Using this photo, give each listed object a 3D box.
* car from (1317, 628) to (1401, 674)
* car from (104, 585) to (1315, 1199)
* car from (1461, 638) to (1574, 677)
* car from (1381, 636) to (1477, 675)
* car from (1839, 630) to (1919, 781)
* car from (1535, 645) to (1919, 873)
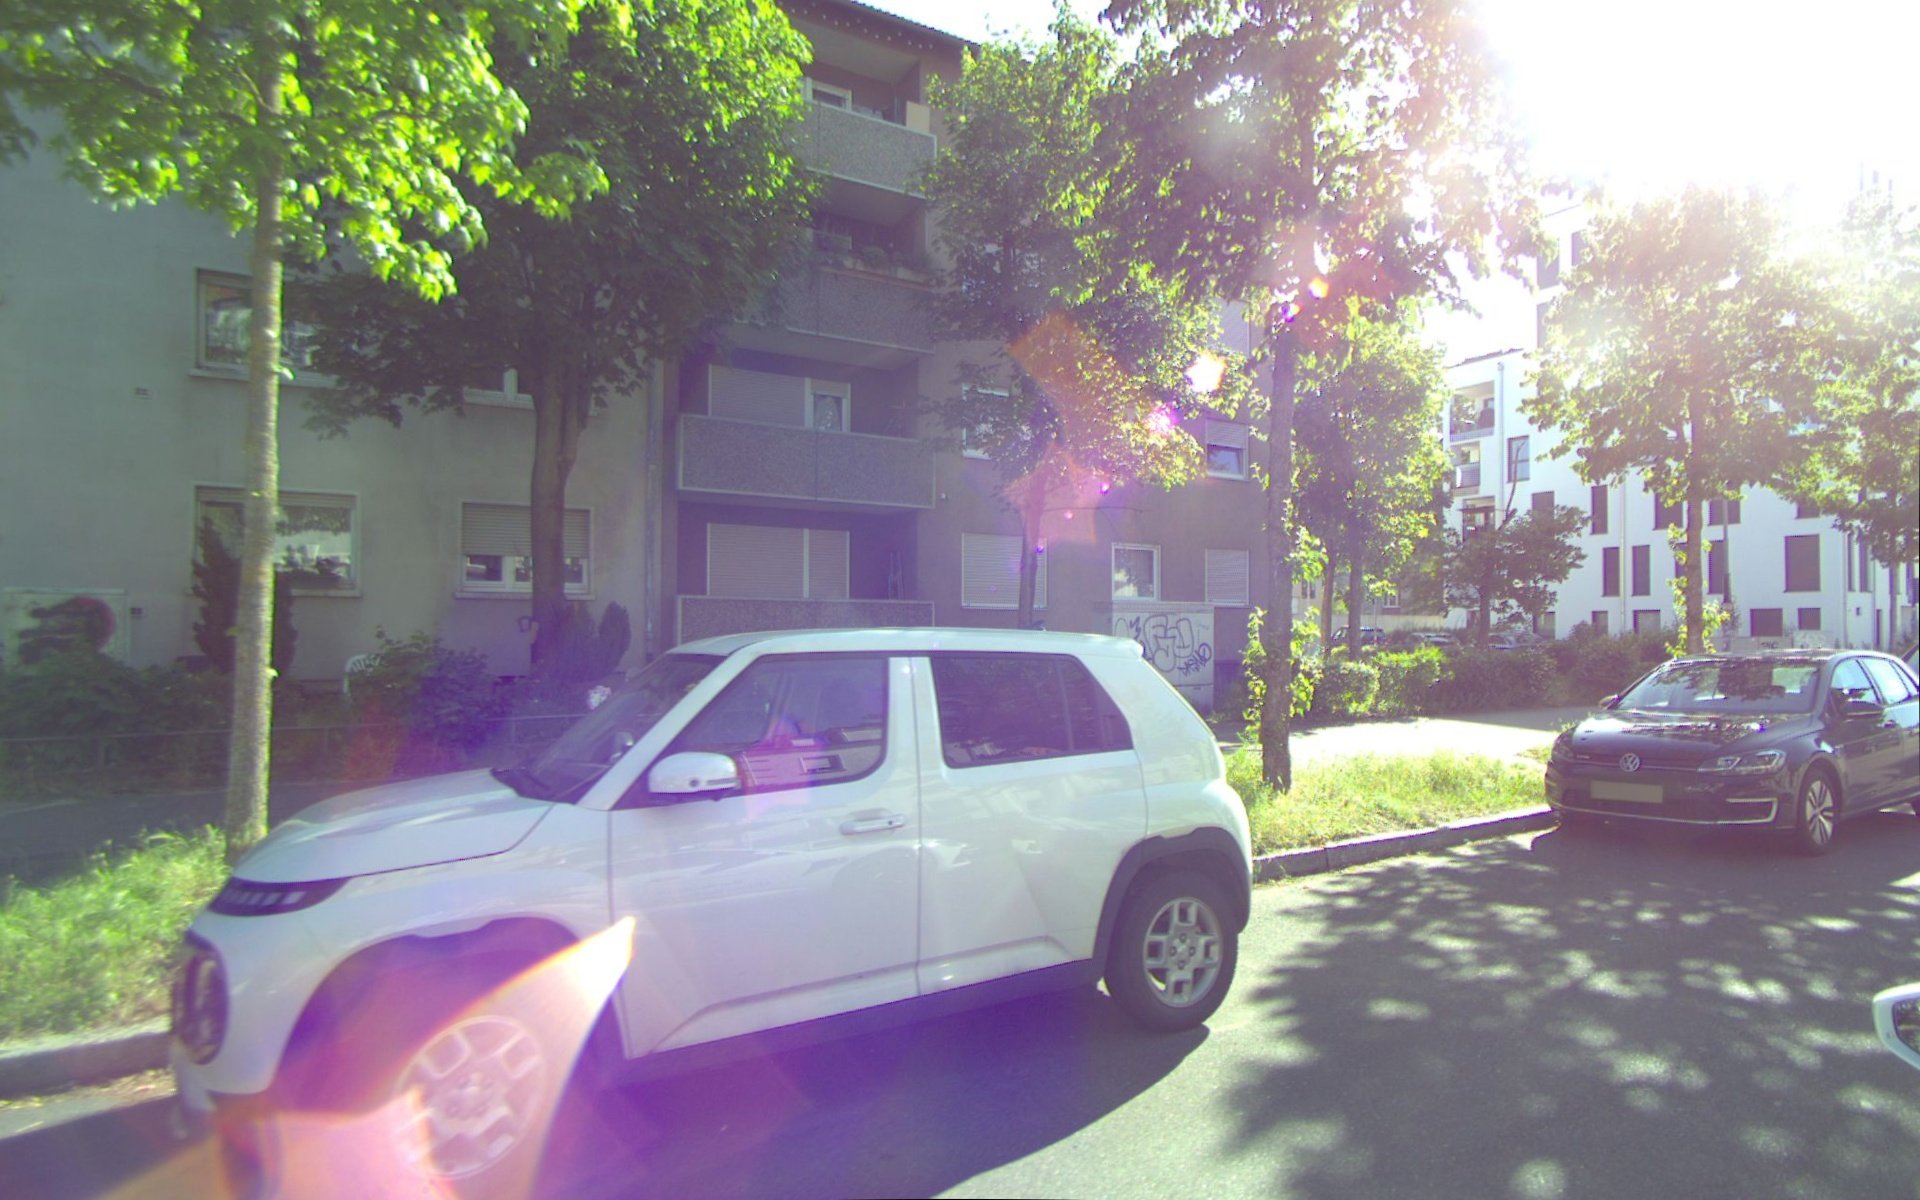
[{"bbox_3d":[16.046,2.011,40.572,1.960,1.673,4.001,-1,0,3],"label":"car"},{"bbox_3d":[-0.621,0.786,3.988,3.955,1.546,1.708,2,0,-32],"label":"car"},{"bbox_3d":[20.466,2.086,37.089,1.960,1.182,4.566,-1,0,5],"label":"car"},{"bbox_3d":[18.291,2.134,39.433,1.960,1.450,4.567,-1,-2,5],"label":"car"},{"bbox_3d":[11.897,1.151,11.406,4.061,1.583,1.712,2,-3,-31],"label":"car"},{"bbox_3d":[6.742,1.132,8.356,4.046,1.413,1.651,2,0,-32],"label":"car"}]
